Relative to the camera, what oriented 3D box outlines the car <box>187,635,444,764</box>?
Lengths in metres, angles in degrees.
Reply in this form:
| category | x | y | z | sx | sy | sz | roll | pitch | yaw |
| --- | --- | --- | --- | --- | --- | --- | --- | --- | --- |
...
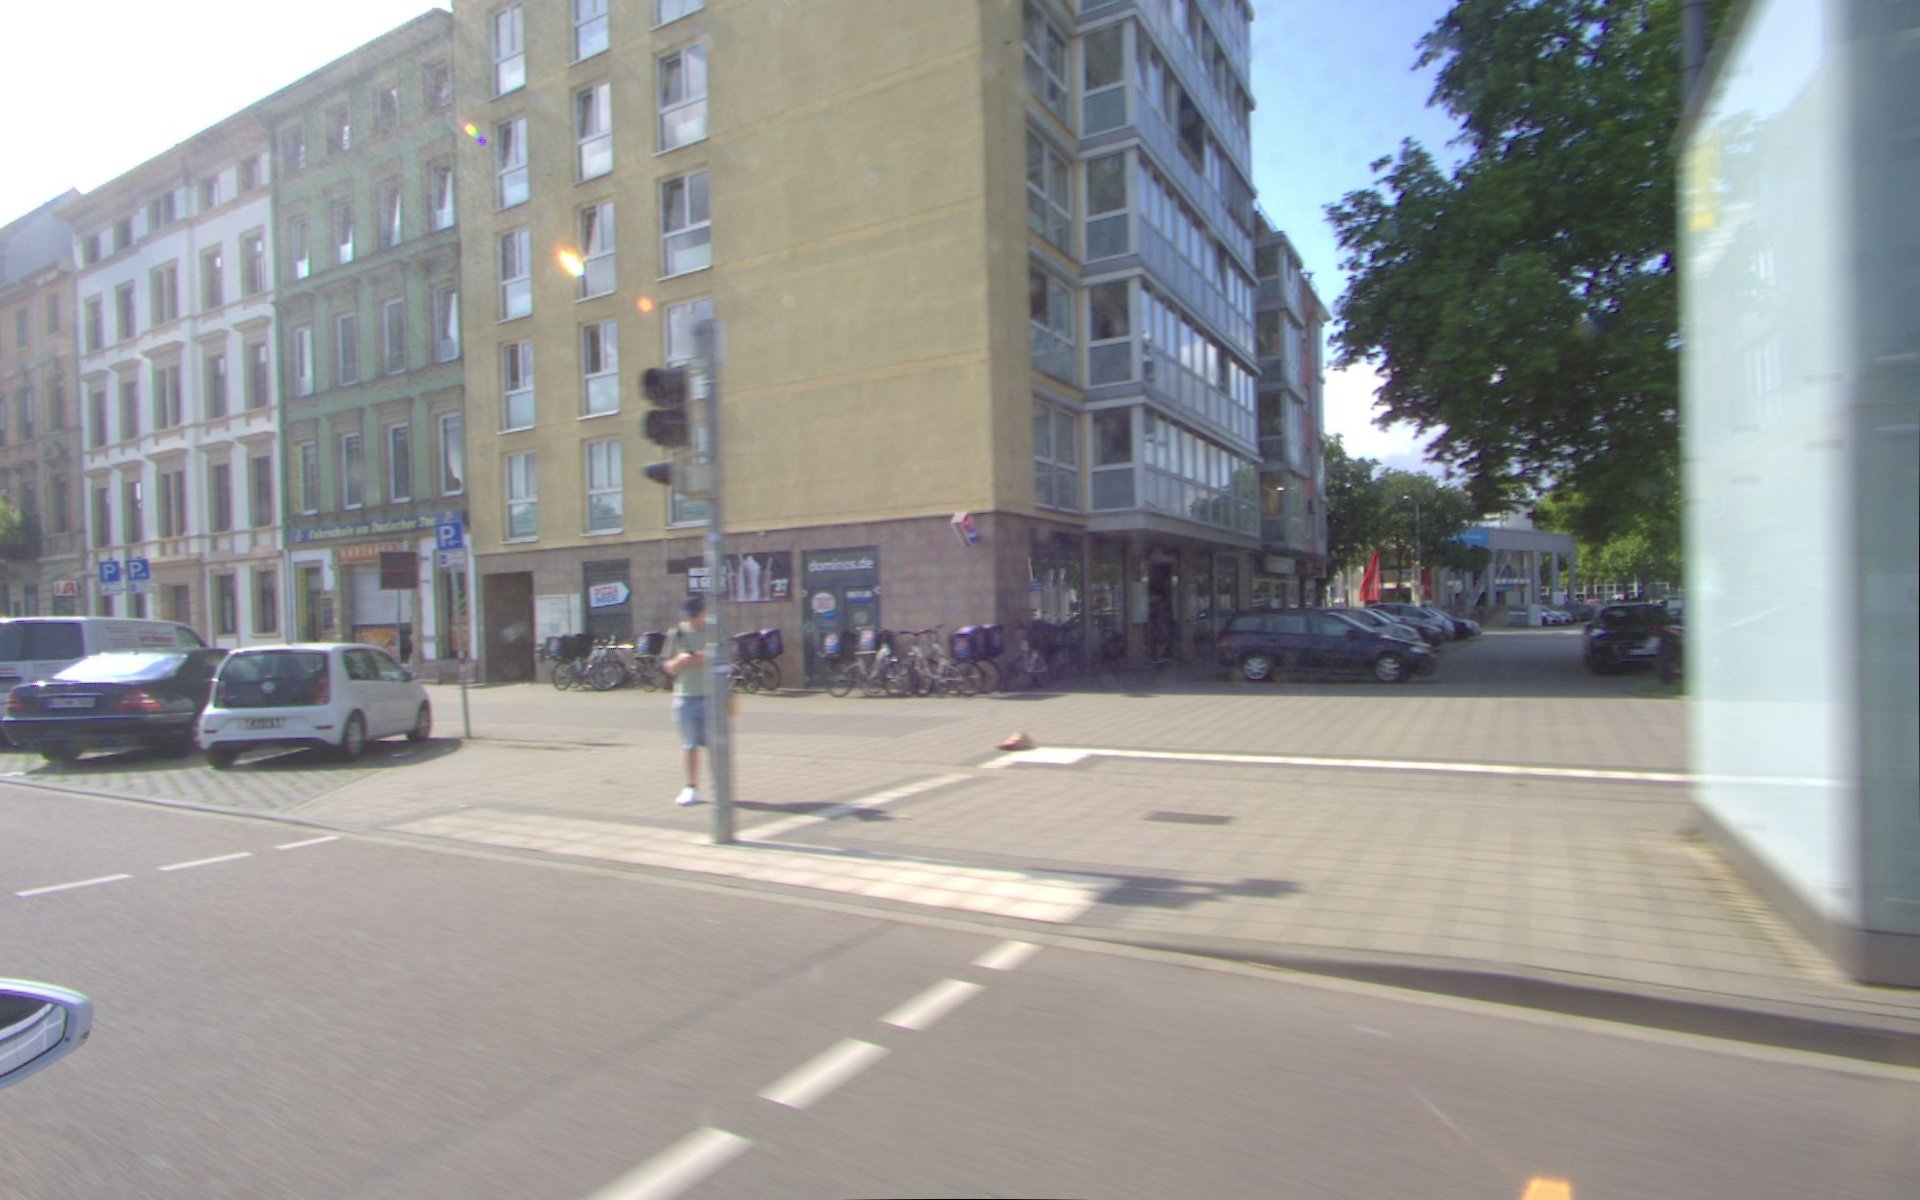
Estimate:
| category | x | y | z | sx | sy | sz | roll | pitch | yaw |
| --- | --- | --- | --- | --- | --- | --- | --- | --- | --- |
| car | -8.411 | 1.218 | 13.449 | 1.687 | 1.459 | 3.510 | 1 | -1 | -11 |

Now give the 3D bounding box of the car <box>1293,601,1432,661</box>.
| category | x | y | z | sx | sy | sz | roll | pitch | yaw |
| --- | --- | --- | --- | --- | --- | --- | --- | --- | --- |
| car | 11.856 | 0.949 | 29.503 | 3.522 | 1.548 | 1.992 | -4 | -3 | 29 |

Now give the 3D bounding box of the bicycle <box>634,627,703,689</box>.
| category | x | y | z | sx | sy | sz | roll | pitch | yaw |
| --- | --- | --- | --- | --- | --- | --- | --- | --- | --- |
| bicycle | -6.176 | 1.205 | 21.203 | 1.623 | 1.218 | 0.485 | 1 | 1 | 35 |

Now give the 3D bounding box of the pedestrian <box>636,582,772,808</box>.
| category | x | y | z | sx | sy | sz | roll | pitch | yaw |
| --- | --- | --- | --- | --- | --- | --- | --- | --- | --- |
| pedestrian | -2.139 | 0.778 | 8.495 | 0.771 | 1.782 | 0.995 | -2 | -2 | 6 |

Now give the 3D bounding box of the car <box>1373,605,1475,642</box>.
| category | x | y | z | sx | sy | sz | roll | pitch | yaw |
| --- | --- | --- | --- | --- | --- | --- | --- | --- | --- |
| car | 20.323 | 1.077 | 44.004 | 3.936 | 1.396 | 1.643 | -4 | -3 | 25 |

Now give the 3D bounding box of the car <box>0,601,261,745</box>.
| category | x | y | z | sx | sy | sz | roll | pitch | yaw |
| --- | --- | --- | --- | --- | --- | --- | --- | --- | --- |
| car | -14.352 | 1.112 | 17.125 | 2.041 | 2.112 | 4.896 | 2 | -1 | -10 |

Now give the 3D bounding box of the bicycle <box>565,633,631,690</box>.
| category | x | y | z | sx | sy | sz | roll | pitch | yaw |
| --- | --- | --- | --- | --- | --- | --- | --- | --- | --- |
| bicycle | -8.284 | 1.387 | 22.909 | 1.620 | 1.218 | 0.485 | 1 | 1 | 30 |

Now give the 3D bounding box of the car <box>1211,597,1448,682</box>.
| category | x | y | z | sx | sy | sz | roll | pitch | yaw |
| --- | --- | --- | --- | --- | --- | --- | --- | --- | --- |
| car | 7.613 | 0.842 | 20.689 | 4.326 | 1.605 | 1.992 | -2 | -3 | 29 |

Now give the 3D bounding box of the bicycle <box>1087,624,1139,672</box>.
| category | x | y | z | sx | sy | sz | roll | pitch | yaw |
| --- | --- | --- | --- | --- | --- | --- | --- | --- | --- |
| bicycle | 3.470 | 1.081 | 22.614 | 0.671 | 1.032 | 1.776 | -2 | -3 | 25 |

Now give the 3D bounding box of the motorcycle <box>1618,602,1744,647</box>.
| category | x | y | z | sx | sy | sz | roll | pitch | yaw |
| --- | --- | --- | --- | --- | --- | --- | --- | --- | --- |
| motorcycle | 29.186 | 0.945 | 40.695 | 3.941 | 1.684 | 1.990 | 1 | 1 | 32 |

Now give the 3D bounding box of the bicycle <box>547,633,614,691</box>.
| category | x | y | z | sx | sy | sz | roll | pitch | yaw |
| --- | --- | --- | --- | --- | --- | --- | --- | --- | --- |
| bicycle | -8.512 | 1.369 | 22.440 | 1.620 | 1.218 | 0.485 | 1 | 1 | 30 |

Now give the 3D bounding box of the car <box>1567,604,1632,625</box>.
| category | x | y | z | sx | sy | sz | roll | pitch | yaw |
| --- | --- | --- | --- | --- | --- | --- | --- | --- | --- |
| car | 49.846 | 1.178 | 78.104 | 1.626 | 1.396 | 3.978 | 0 | -4 | -34 |

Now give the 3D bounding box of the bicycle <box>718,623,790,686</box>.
| category | x | y | z | sx | sy | sz | roll | pitch | yaw |
| --- | --- | --- | --- | --- | --- | --- | --- | --- | --- |
| bicycle | -4.255 | 1.097 | 20.634 | 1.623 | 1.218 | 0.485 | 1 | 1 | 35 |

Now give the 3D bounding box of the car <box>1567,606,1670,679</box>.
| category | x | y | z | sx | sy | sz | roll | pitch | yaw |
| --- | --- | --- | --- | --- | --- | --- | --- | --- | --- |
| car | 14.909 | 0.891 | 22.819 | 1.771 | 1.439 | 3.979 | 1 | 1 | 32 |

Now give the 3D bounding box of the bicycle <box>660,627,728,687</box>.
| category | x | y | z | sx | sy | sz | roll | pitch | yaw |
| --- | --- | --- | --- | --- | --- | --- | --- | --- | --- |
| bicycle | -5.743 | 1.209 | 21.560 | 1.623 | 1.218 | 0.485 | 1 | 1 | 35 |

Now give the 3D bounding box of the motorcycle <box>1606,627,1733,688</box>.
| category | x | y | z | sx | sy | sz | roll | pitch | yaw |
| --- | --- | --- | --- | --- | --- | --- | --- | --- | --- |
| motorcycle | 11.669 | 0.936 | 16.487 | 1.860 | 0.914 | 0.605 | -2 | -1 | -13 |

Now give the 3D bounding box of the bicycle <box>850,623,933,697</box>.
| category | x | y | z | sx | sy | sz | roll | pitch | yaw |
| --- | --- | --- | --- | --- | --- | --- | --- | --- | --- |
| bicycle | -1.307 | 1.107 | 18.877 | 1.623 | 1.289 | 0.485 | 1 | 1 | 35 |

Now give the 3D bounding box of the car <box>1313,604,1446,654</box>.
| category | x | y | z | sx | sy | sz | roll | pitch | yaw |
| --- | --- | --- | --- | --- | --- | --- | --- | --- | --- |
| car | 14.134 | 1.009 | 33.778 | 3.940 | 1.482 | 1.864 | -4 | -3 | 28 |

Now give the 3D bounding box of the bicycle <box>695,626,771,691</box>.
| category | x | y | z | sx | sy | sz | roll | pitch | yaw |
| --- | --- | --- | --- | --- | --- | --- | --- | --- | --- |
| bicycle | -4.592 | 1.155 | 20.189 | 1.623 | 1.218 | 0.545 | 1 | 1 | 35 |

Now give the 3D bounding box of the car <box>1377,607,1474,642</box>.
| category | x | y | z | sx | sy | sz | roll | pitch | yaw |
| --- | --- | --- | --- | --- | --- | --- | --- | --- | --- |
| car | 21.614 | 1.166 | 46.607 | 3.936 | 1.396 | 1.643 | -4 | -3 | 25 |

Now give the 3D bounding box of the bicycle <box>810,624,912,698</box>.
| category | x | y | z | sx | sy | sz | roll | pitch | yaw |
| --- | --- | --- | --- | --- | --- | --- | --- | --- | --- |
| bicycle | -1.840 | 1.109 | 18.552 | 1.857 | 1.289 | 0.486 | 0 | 1 | 22 |

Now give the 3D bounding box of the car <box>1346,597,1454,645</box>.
| category | x | y | z | sx | sy | sz | roll | pitch | yaw |
| --- | --- | --- | --- | --- | --- | --- | --- | --- | --- |
| car | 18.239 | 0.890 | 41.535 | 3.939 | 1.753 | 1.812 | -4 | -3 | 27 |

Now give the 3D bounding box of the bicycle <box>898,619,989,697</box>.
| category | x | y | z | sx | sy | sz | roll | pitch | yaw |
| --- | --- | --- | --- | --- | --- | --- | --- | --- | --- |
| bicycle | -0.310 | 1.002 | 17.759 | 1.623 | 1.289 | 0.528 | 1 | 1 | 35 |

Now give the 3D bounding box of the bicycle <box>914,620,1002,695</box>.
| category | x | y | z | sx | sy | sz | roll | pitch | yaw |
| --- | --- | --- | --- | --- | --- | --- | --- | --- | --- |
| bicycle | -0.044 | 1.019 | 18.226 | 1.623 | 1.289 | 0.485 | 1 | 1 | 35 |

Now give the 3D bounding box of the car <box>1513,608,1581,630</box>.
| category | x | y | z | sx | sy | sz | roll | pitch | yaw |
| --- | --- | --- | --- | --- | --- | --- | --- | --- | --- |
| car | 42.724 | 1.387 | 72.963 | 1.626 | 1.396 | 3.978 | 0 | -4 | -34 |

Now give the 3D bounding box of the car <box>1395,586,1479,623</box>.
| category | x | y | z | sx | sy | sz | roll | pitch | yaw |
| --- | --- | --- | --- | --- | --- | --- | --- | --- | --- |
| car | 24.079 | 0.271 | 50.562 | 3.571 | 1.613 | 1.657 | -4 | -4 | 34 |

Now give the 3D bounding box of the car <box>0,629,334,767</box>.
| category | x | y | z | sx | sy | sz | roll | pitch | yaw |
| --- | --- | --- | --- | --- | --- | --- | --- | --- | --- |
| car | -11.154 | 1.242 | 14.520 | 1.856 | 1.488 | 5.059 | 0 | 0 | -12 |
